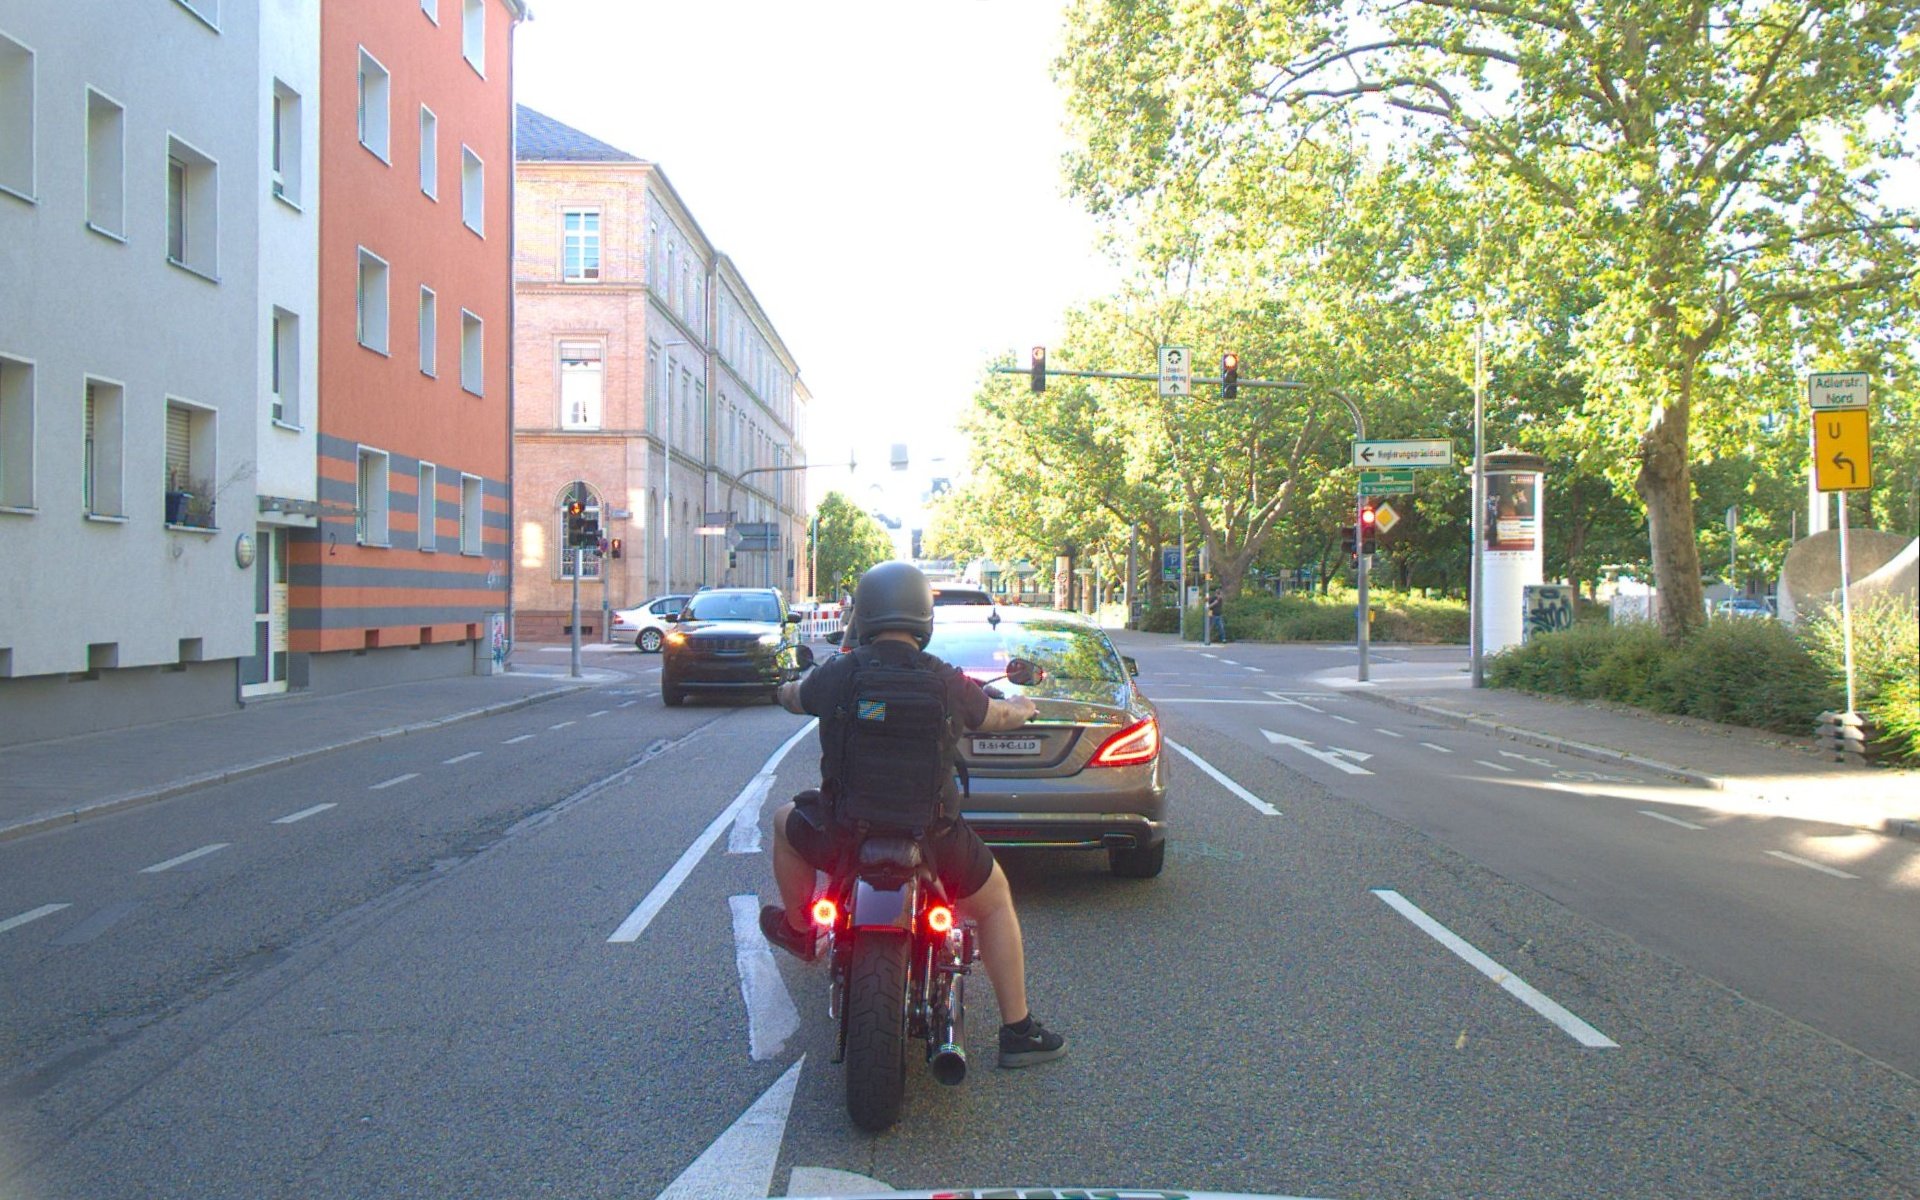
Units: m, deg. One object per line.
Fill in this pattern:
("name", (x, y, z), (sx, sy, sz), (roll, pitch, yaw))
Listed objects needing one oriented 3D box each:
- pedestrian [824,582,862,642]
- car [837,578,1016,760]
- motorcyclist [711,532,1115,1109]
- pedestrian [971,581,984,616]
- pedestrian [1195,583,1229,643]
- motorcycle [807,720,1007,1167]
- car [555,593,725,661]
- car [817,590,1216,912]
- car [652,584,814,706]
("pedestrian", (-3.668, 0.376, 51.932), (0.980, 1.858, 1.077), (1, 0, 5))
("car", (-0.328, 0.607, 16.736), (1.588, 1.622, 3.999), (0, 0, -1))
("motorcyclist", (-0.140, 0.633, 5.358), (1.125, 1.626, 1.288), (1, 0, -1))
("pedestrian", (1.089, -0.087, 100.850), (0.748, 2.087, 0.712), (1, -1, -1))
("pedestrian", (8.331, 0.422, 54.664), (0.739, 1.943, 0.920), (1, -1, -22))
("motorcycle", (-0.152, 0.971, 5.321), (0.503, 1.020, 2.013), (1, 0, -1))
("car", (-7.983, 0.677, 41.188), (4.053, 1.602, 1.851), (1, 0, -15))
("car", (0.238, 0.695, 9.628), (1.844, 1.475, 3.819), (1, 0, -1))
("car", (-3.232, 0.615, 24.387), (1.812, 1.597, 4.384), (1, 0, -1))
